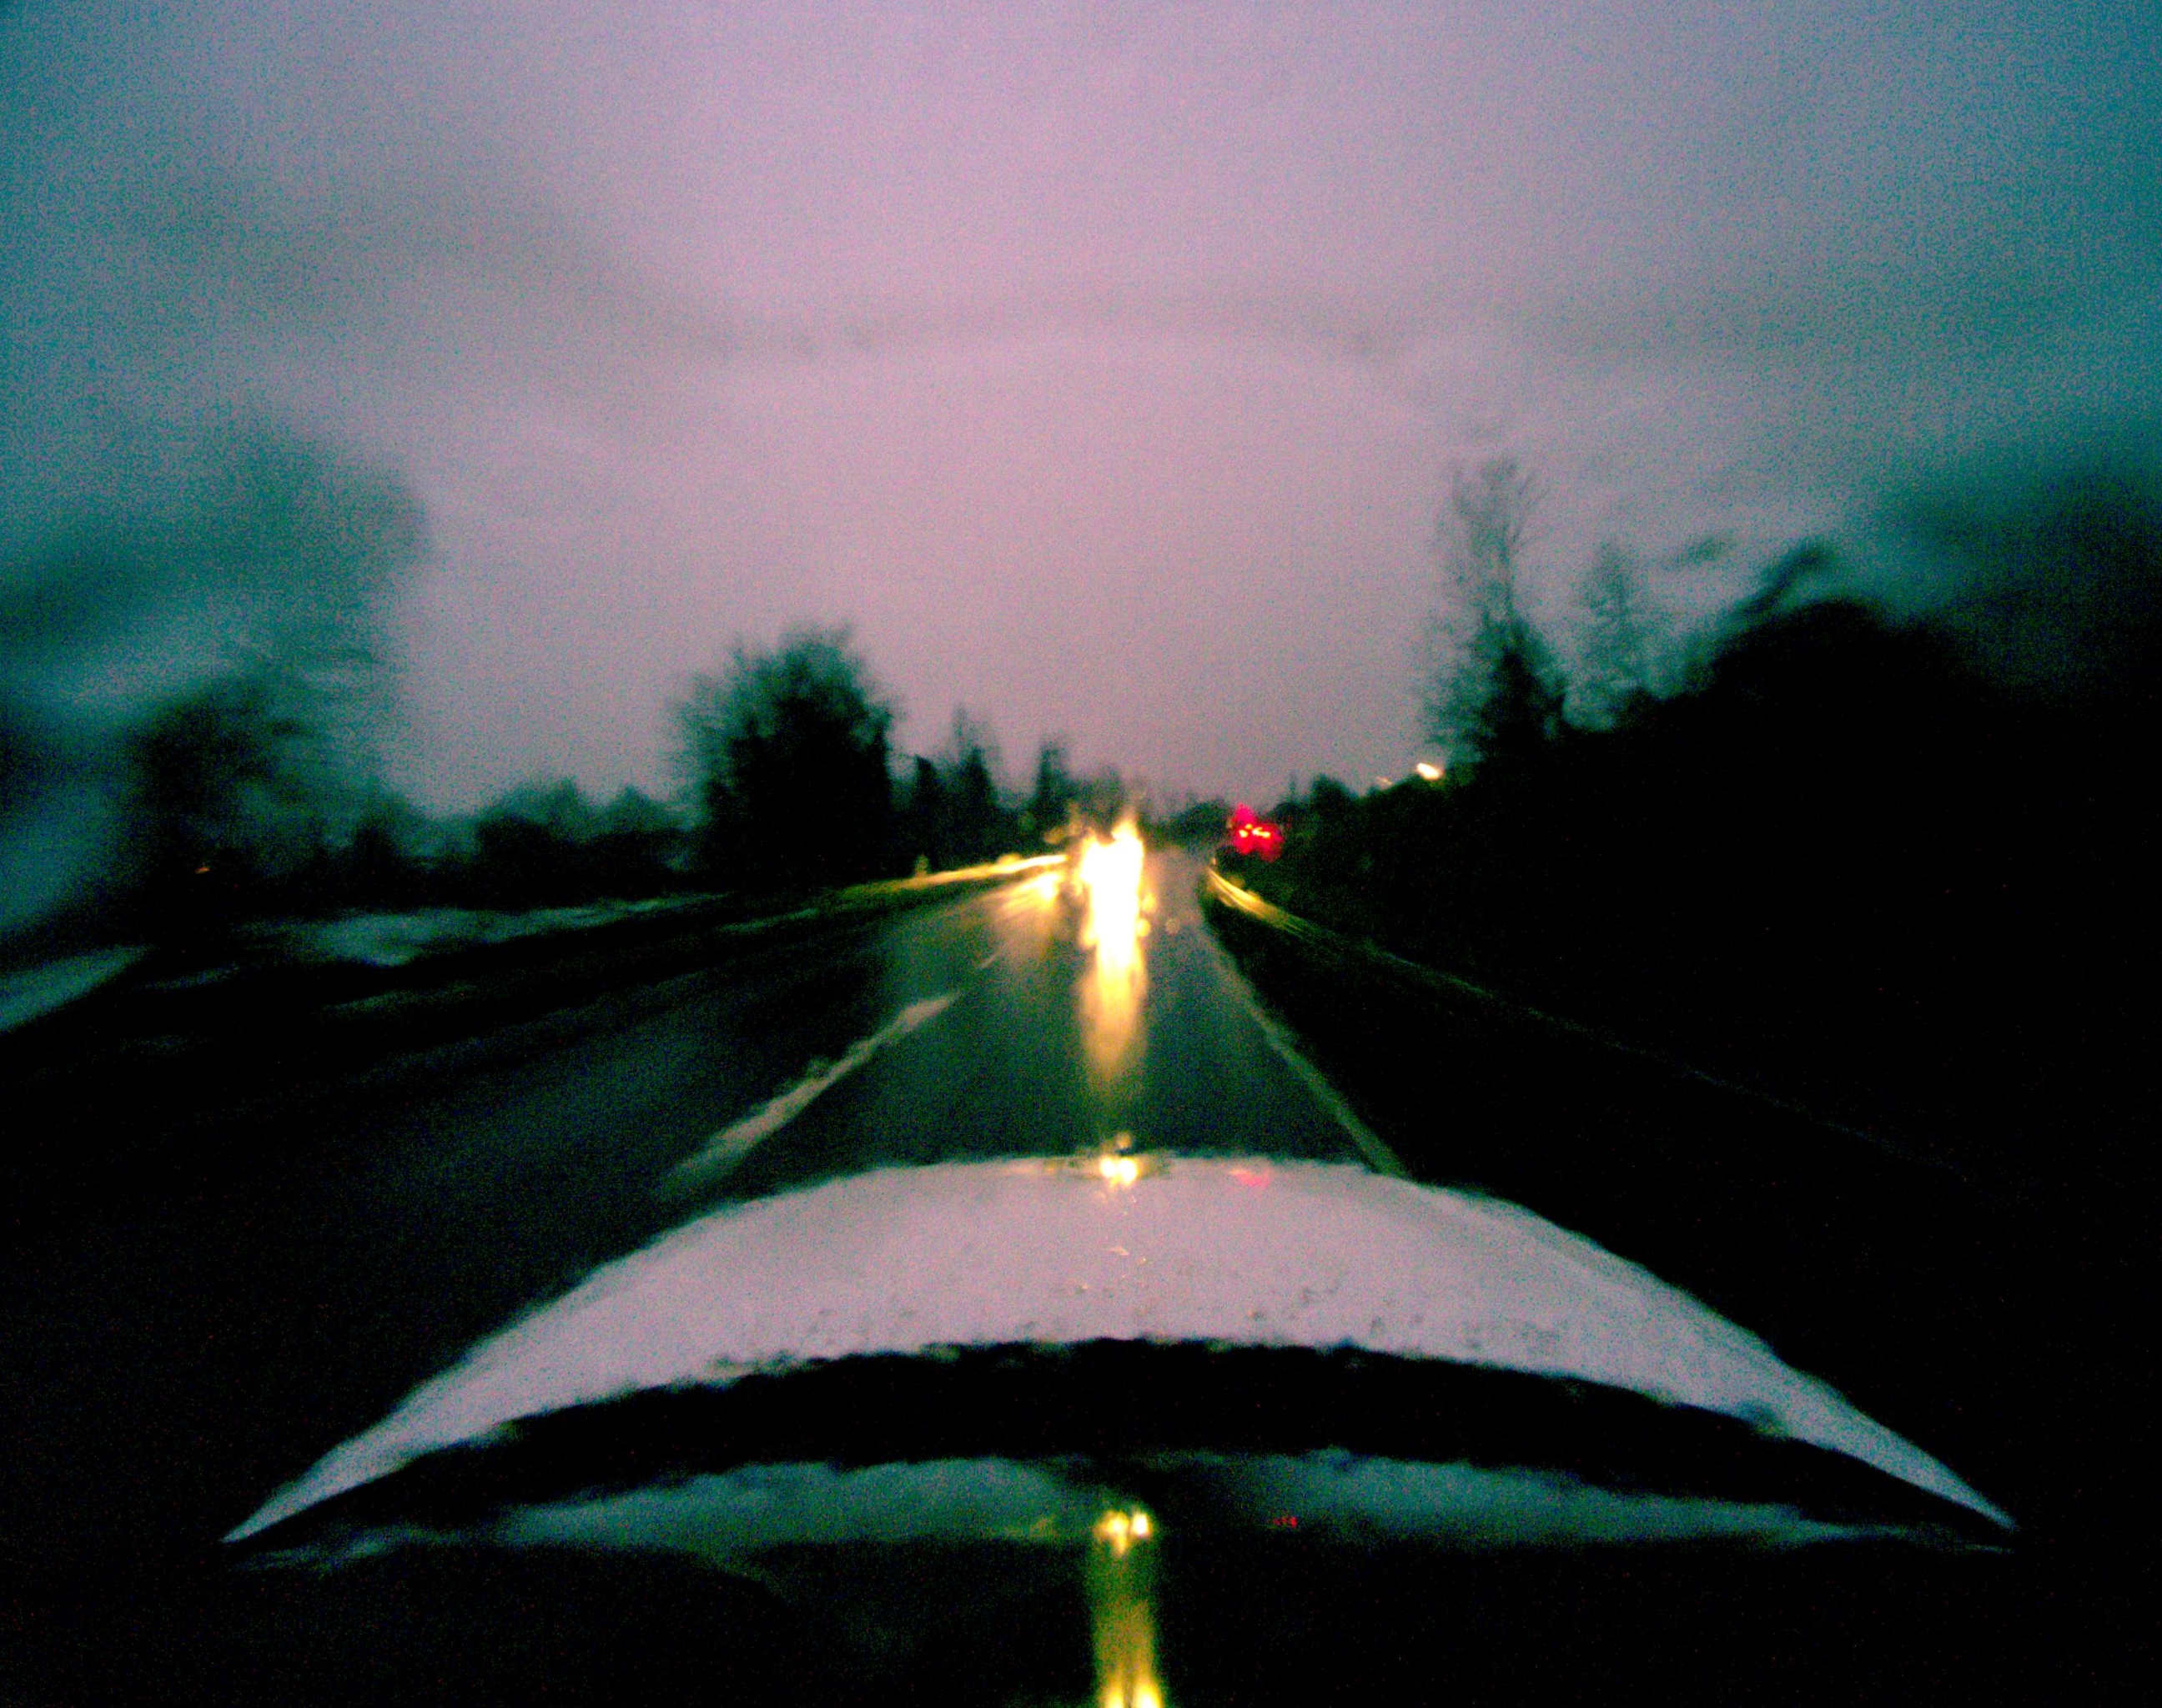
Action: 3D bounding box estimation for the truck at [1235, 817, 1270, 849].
[{"bbox_3d":[17.262,-2.108,81.753,2.511,2.868,5.951,-5,1,19],"label":"truck"}]

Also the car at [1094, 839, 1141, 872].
[{"bbox_3d":[2.213,0.019,48.075,1.981,1.621,4.612,-5,1,11],"label":"car"}]
